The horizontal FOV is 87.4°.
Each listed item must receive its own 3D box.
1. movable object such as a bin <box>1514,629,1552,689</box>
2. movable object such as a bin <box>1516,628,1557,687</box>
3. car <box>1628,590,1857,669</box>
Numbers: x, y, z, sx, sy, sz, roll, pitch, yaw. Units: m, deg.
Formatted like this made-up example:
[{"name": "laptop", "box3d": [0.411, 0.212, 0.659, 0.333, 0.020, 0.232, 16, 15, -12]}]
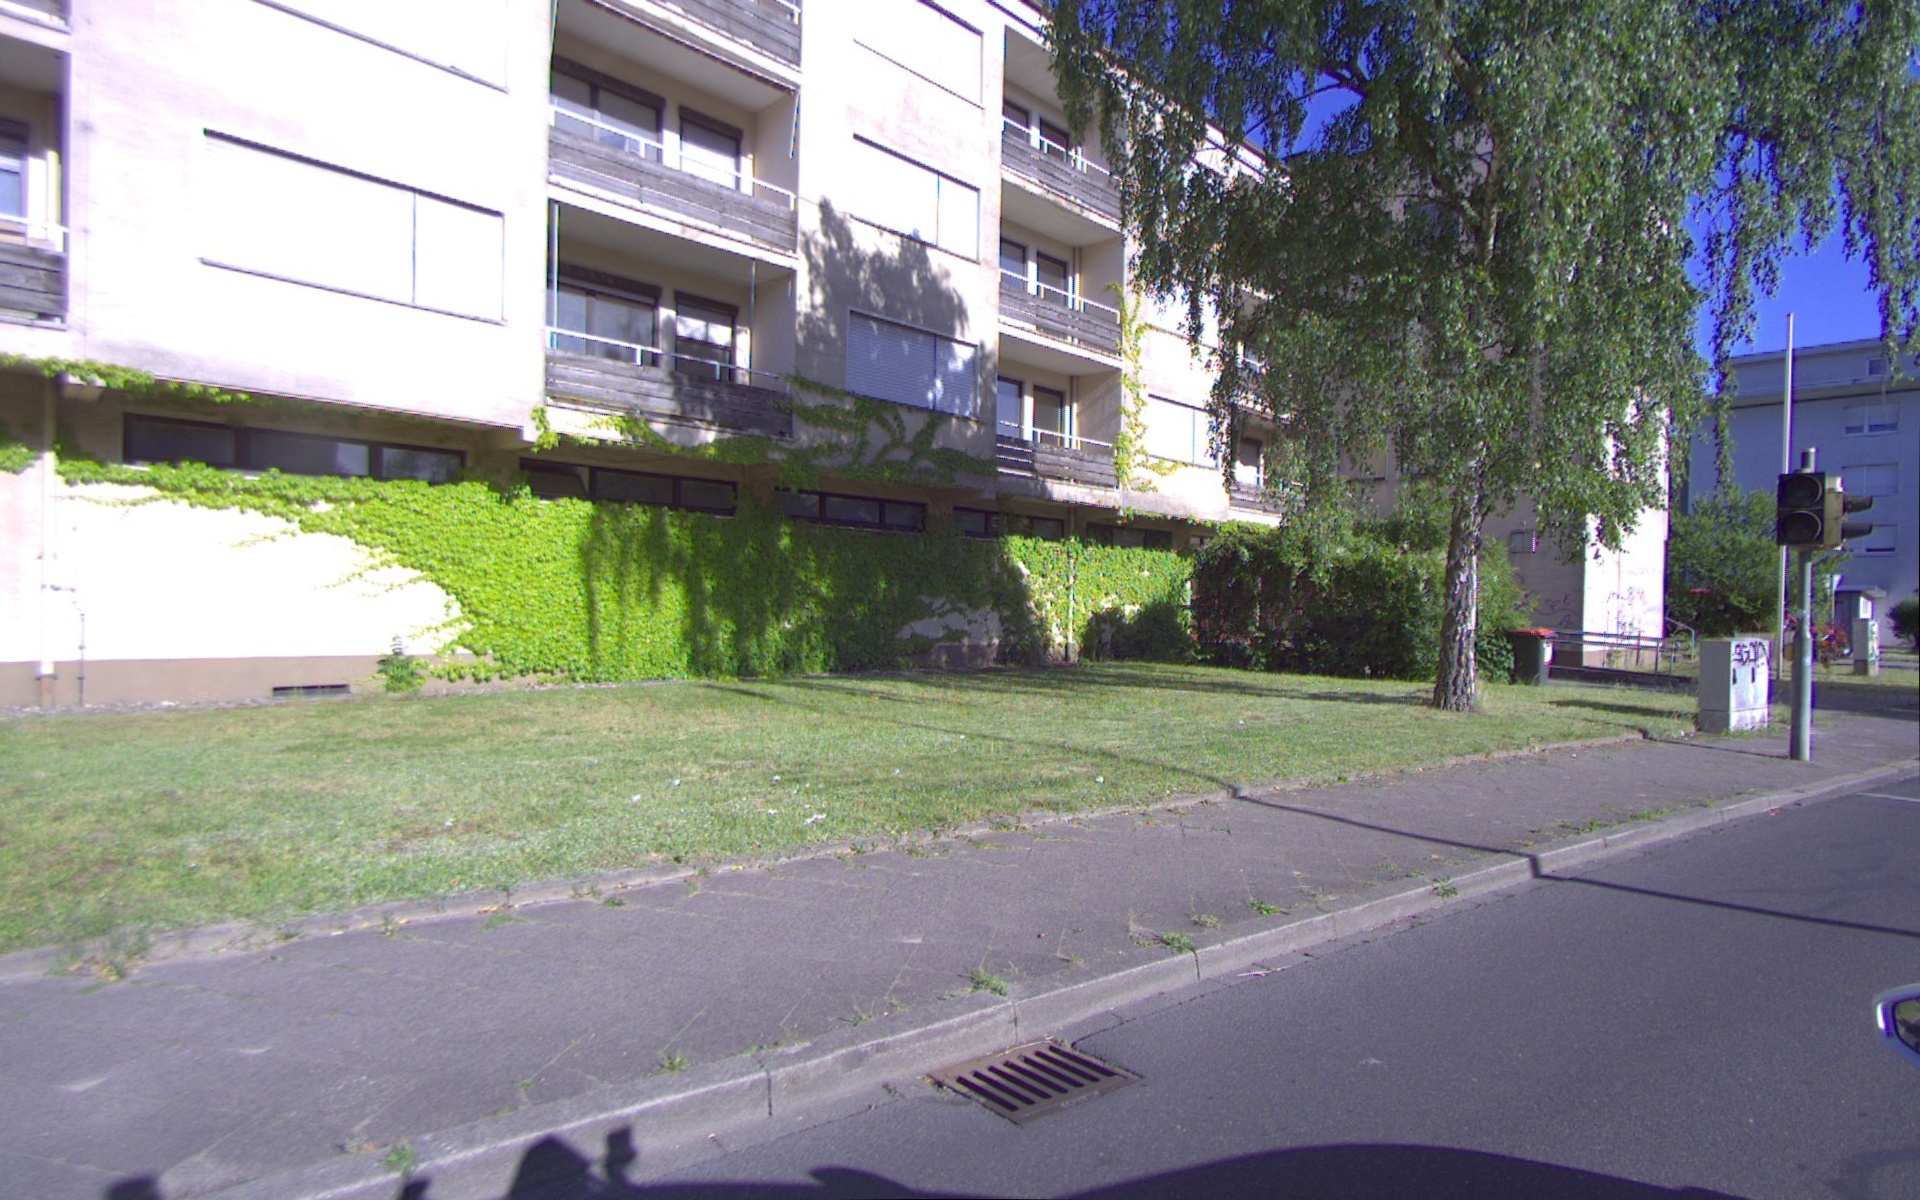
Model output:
[{"name": "movable object such as a bin", "box3d": [10.566, 1.070, 18.521, 0.555, 1.067, 0.555, 1, 0, 35]}, {"name": "movable object such as a bin", "box3d": [10.939, 1.078, 19.043, 0.618, 1.062, 0.701, 1, 0, 34]}, {"name": "car", "box3d": [26.714, 0.941, 34.573, 2.189, 2.461, 5.870, -1, 0, -33]}]
